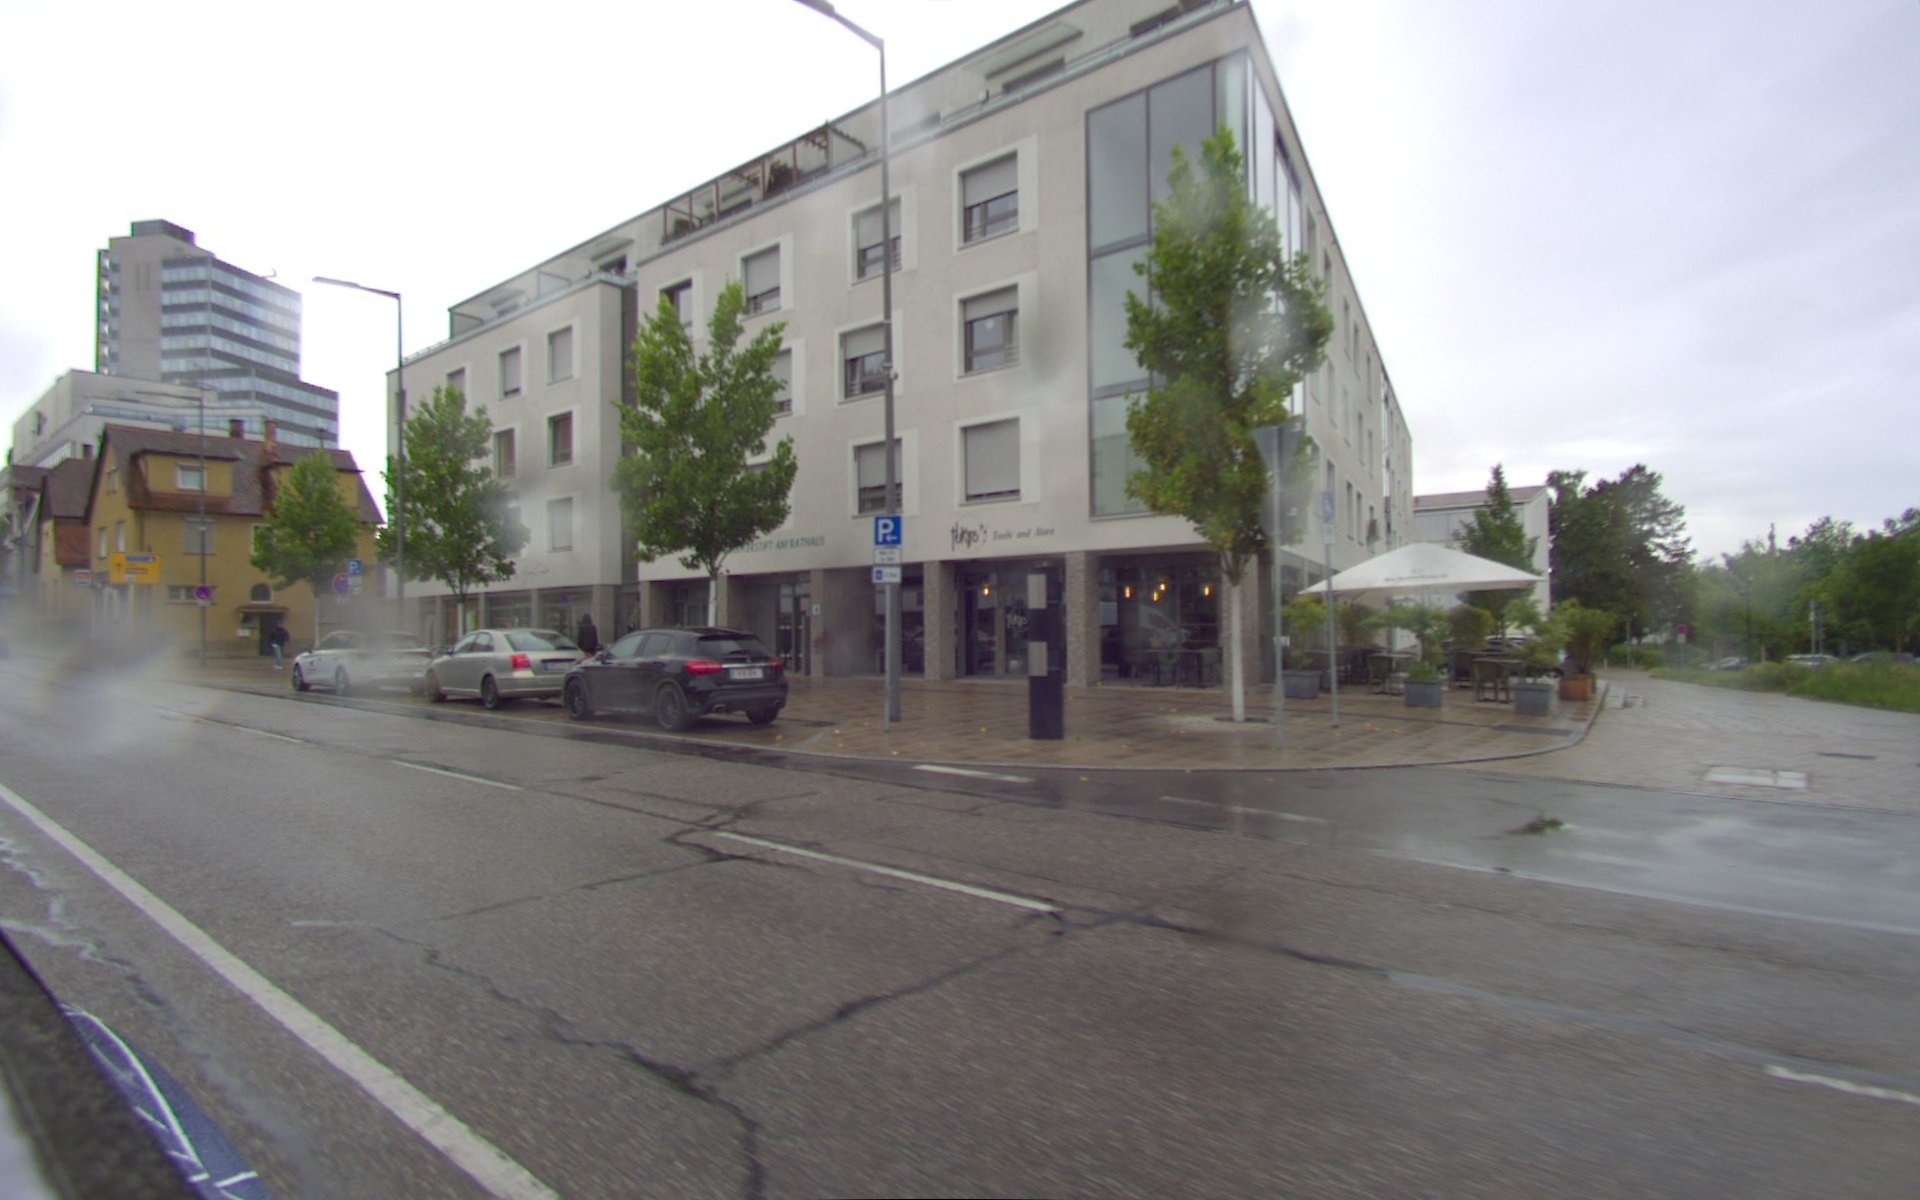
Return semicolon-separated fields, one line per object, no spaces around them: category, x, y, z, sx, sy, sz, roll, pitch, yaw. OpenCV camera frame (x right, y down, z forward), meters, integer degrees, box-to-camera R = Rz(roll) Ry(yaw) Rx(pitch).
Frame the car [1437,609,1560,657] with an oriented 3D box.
car;20.705;1.236;39.095;3.974;1.702;1.985;1;-1;23

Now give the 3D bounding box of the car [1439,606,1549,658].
car;19.439;1.156;36.961;3.438;1.790;1.479;1;-1;25

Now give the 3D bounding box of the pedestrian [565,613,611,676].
pedestrian;-10.705;1.272;29.123;1.002;1.751;0.800;0;-1;40

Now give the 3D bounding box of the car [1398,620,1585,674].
car;14.572;1.261;28.021;4.444;1.305;1.779;1;-1;25

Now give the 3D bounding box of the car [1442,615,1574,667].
car;16.803;1.244;31.205;3.412;1.470;1.490;1;-1;23

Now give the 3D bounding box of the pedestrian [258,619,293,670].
pedestrian;-24.794;1.600;36.654;0.881;1.801;0.793;0;-1;38

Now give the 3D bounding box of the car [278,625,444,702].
car;-13.625;1.365;22.931;4.473;1.474;1.778;0;-1;39

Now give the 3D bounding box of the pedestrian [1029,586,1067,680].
pedestrian;2.053;0.764;23.725;0.738;2.161;0.772;1;0;-6

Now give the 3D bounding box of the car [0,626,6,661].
car;-44.332;1.905;45.336;4.181;1.535;1.861;0;-1;40

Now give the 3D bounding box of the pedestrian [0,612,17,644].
pedestrian;-58.770;1.746;62.436;0.944;1.935;0.656;0;1;32

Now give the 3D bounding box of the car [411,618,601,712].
car;-8.822;1.163;19.487;4.578;1.521;1.673;0;-1;43

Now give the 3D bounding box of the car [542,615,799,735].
car;-4.524;1.065;15.474;4.467;1.594;1.571;-2;-3;40
